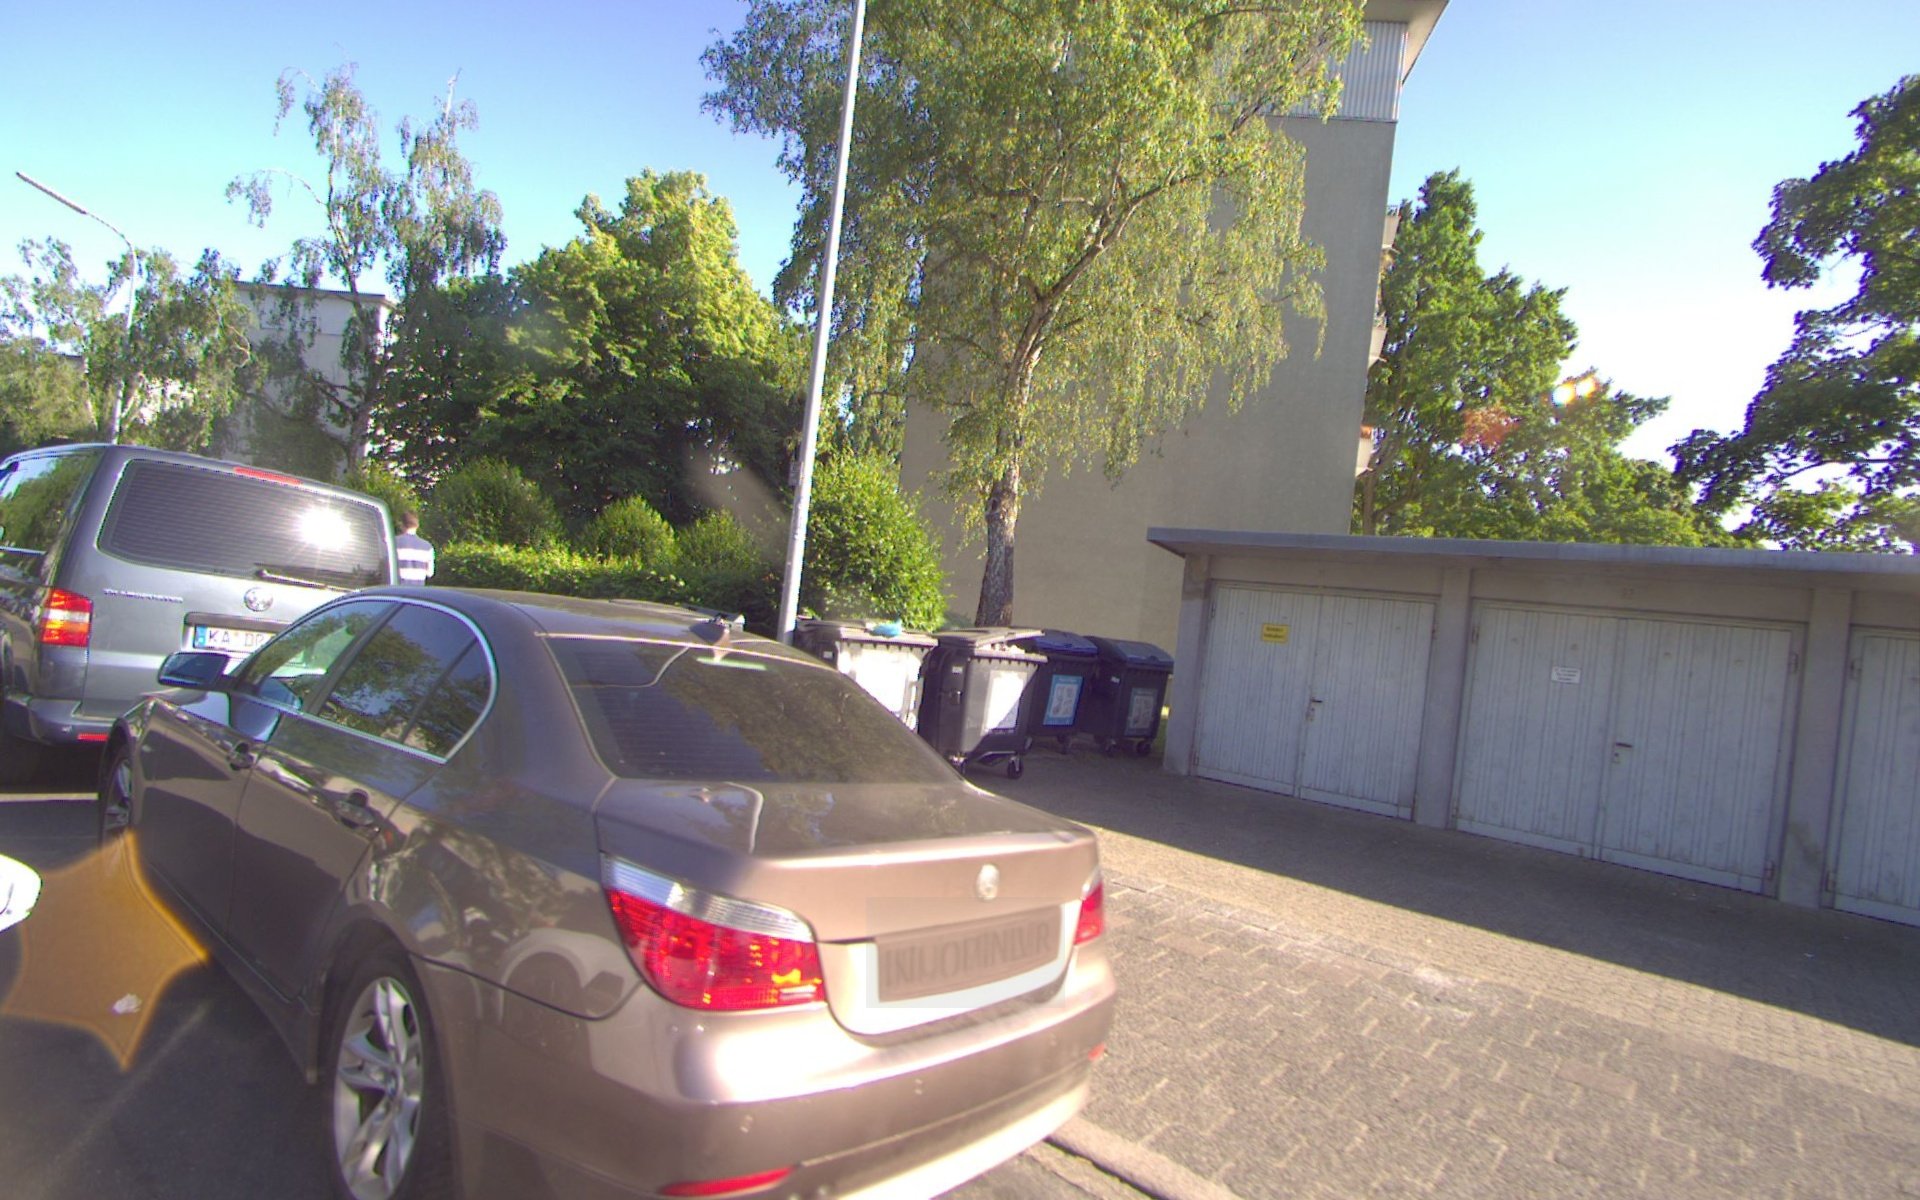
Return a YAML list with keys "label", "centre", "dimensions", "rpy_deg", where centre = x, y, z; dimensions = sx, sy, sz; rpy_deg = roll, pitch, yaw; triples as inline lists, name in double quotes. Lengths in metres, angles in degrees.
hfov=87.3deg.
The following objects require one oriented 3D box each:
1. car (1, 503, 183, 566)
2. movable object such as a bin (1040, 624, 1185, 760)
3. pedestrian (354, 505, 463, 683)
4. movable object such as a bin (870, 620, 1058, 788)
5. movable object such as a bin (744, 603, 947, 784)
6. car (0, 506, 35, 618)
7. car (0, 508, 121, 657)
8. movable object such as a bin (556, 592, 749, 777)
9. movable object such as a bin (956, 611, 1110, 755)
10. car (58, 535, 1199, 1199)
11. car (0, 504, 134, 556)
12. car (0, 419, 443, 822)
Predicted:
- label: "car"
  centre: [-29.968, -2.227, 34.848]
  dimensions: [1.803, 1.532, 4.508]
  rpy_deg: [6, 0, 40]
- label: "movable object such as a bin"
  centre: [1.970, 1.184, 12.973]
  dimensions: [1.117, 1.484, 1.274]
  rpy_deg: [11, 3, 42]
- label: "pedestrian"
  centre: [-6.254, -0.066, 11.405]
  dimensions: [0.860, 1.913, 0.702]
  rpy_deg: [7, 2, 40]
- label: "movable object such as a bin"
  centre: [0.044, 0.985, 9.696]
  dimensions: [1.118, 1.381, 1.274]
  rpy_deg: [6, -1, 42]
- label: "movable object such as a bin"
  centre: [-1.006, 0.813, 8.898]
  dimensions: [1.118, 1.381, 1.222]
  rpy_deg: [6, -1, 42]
- label: "car"
  centre: [-15.349, -0.755, 14.786]
  dimensions: [4.432, 1.508, 1.731]
  rpy_deg: [6, 0, 37]
- label: "car"
  centre: [-11.644, -0.361, 11.998]
  dimensions: [3.976, 1.506, 1.623]
  rpy_deg: [6, -3, 39]
- label: "movable object such as a bin"
  centre: [-2.605, 0.664, 8.456]
  dimensions: [1.021, 1.327, 1.371]
  rpy_deg: [3, 2, -41]
- label: "movable object such as a bin"
  centre: [0.887, 1.004, 12.159]
  dimensions: [1.117, 1.484, 1.274]
  rpy_deg: [11, 3, 42]
- label: "car"
  centre: [-1.681, 0.699, 3.726]
  dimensions: [4.571, 1.435, 1.800]
  rpy_deg: [6, -2, 41]
- label: "car"
  centre: [-36.151, -2.819, 40.290]
  dimensions: [1.802, 1.532, 4.411]
  rpy_deg: [6, 0, 39]
- label: "car"
  centre: [-5.740, 0.019, 7.027]
  dimensions: [4.635, 1.956, 1.853]
  rpy_deg: [6, -2, 39]
